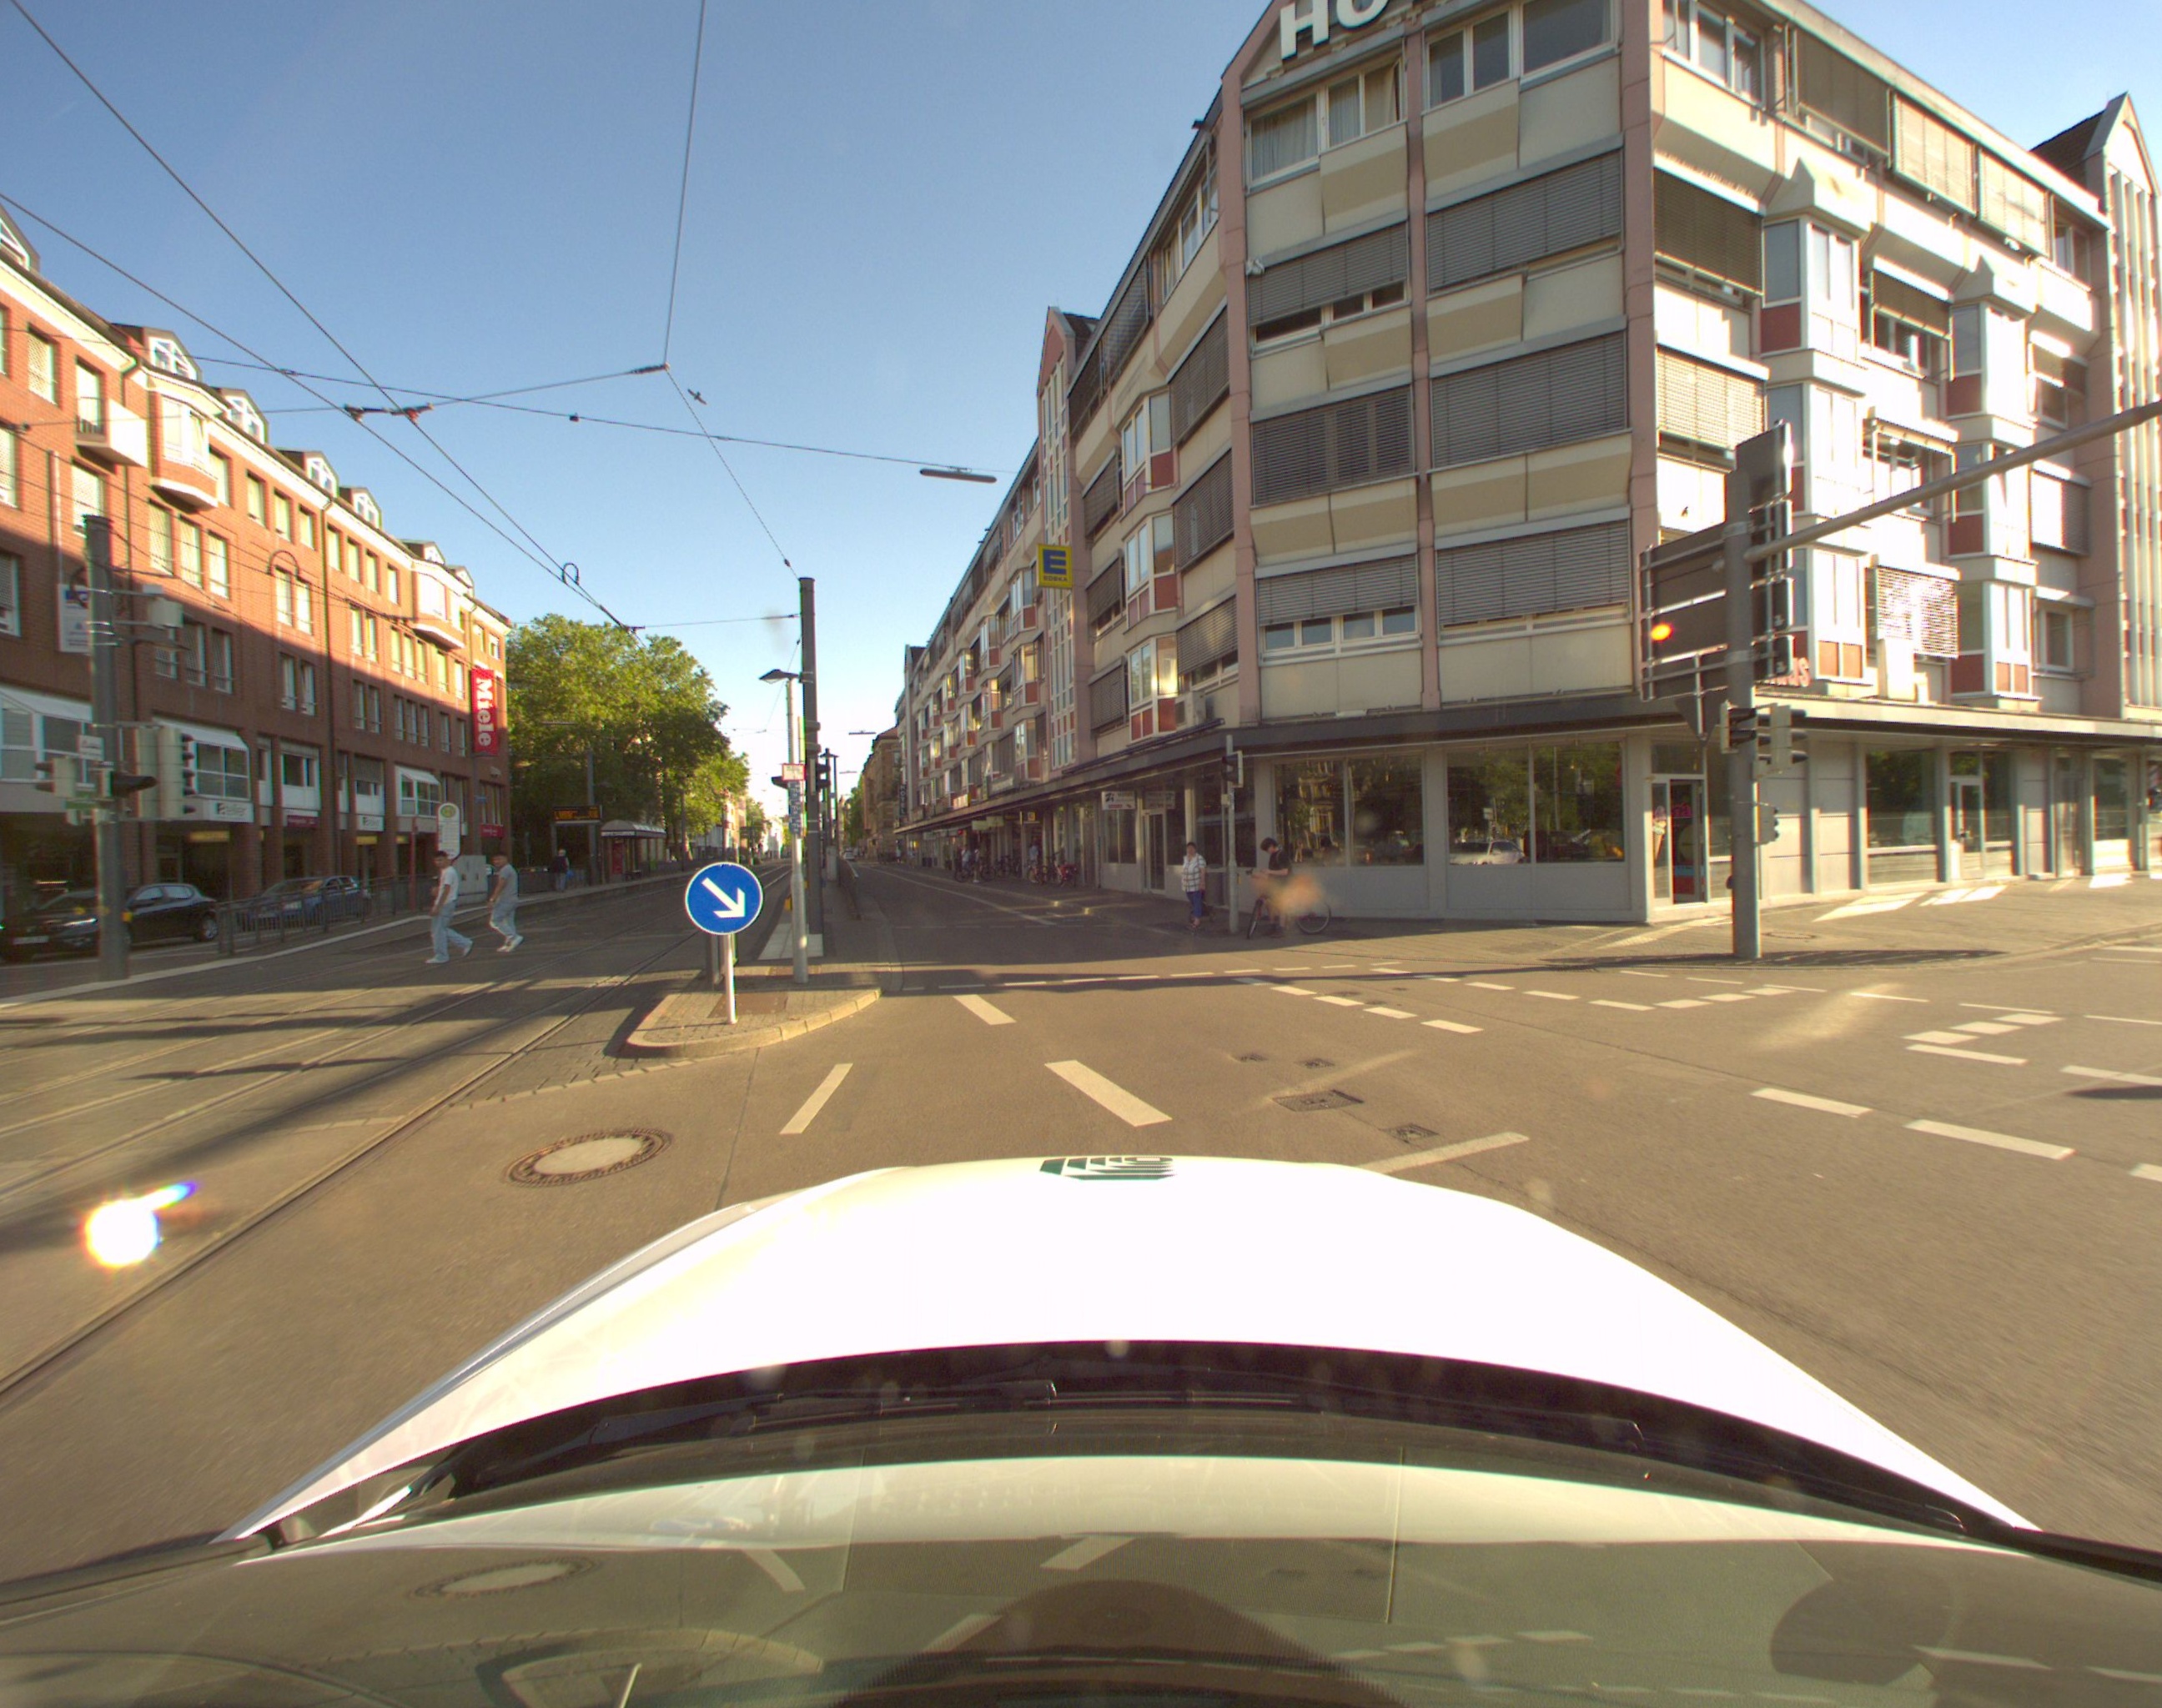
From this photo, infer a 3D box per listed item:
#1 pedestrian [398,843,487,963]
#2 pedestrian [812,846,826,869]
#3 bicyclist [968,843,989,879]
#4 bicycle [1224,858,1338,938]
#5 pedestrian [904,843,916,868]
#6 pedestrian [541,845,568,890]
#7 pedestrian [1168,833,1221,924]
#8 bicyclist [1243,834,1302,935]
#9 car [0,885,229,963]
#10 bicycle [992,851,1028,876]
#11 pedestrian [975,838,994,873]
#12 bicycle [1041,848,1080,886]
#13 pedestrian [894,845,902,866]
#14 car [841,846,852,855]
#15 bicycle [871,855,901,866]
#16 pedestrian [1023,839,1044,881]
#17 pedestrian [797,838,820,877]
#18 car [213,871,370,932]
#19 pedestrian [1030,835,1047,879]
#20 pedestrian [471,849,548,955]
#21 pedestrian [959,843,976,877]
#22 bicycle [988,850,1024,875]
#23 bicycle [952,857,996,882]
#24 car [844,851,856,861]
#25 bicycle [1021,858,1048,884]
[{"bbox_3d":[-9.966,0.728,12.726,1.011,1.764,0.504,-3,3,-43],"label":"pedestrian"},{"bbox_3d":[-18.838,0.250,58.580,0.783,1.659,0.677,-2,2,-29],"label":"pedestrian"},{"bbox_3d":[-4.578,0.294,36.318,0.799,1.532,0.627,-4,2,-7],"label":"bicyclist"},{"bbox_3d":[3.375,0.709,13.719,1.770,1.145,0.637,-4,3,-20],"label":"bicycle"},{"bbox_3d":[-13.771,0.121,65.566,0.840,2.013,0.774,-1,2,-14],"label":"pedestrian"},{"bbox_3d":[-19.140,0.482,29.619,0.695,1.577,0.614,-3,3,-44],"label":"pedestrian"},{"bbox_3d":[2.146,0.450,15.399,0.707,1.662,0.637,-2,0,43],"label":"pedestrian"},{"bbox_3d":[3.204,0.493,13.651,0.658,1.596,0.637,-4,3,-20],"label":"bicyclist"},{"bbox_3d":[-21.526,1.471,18.124,1.748,1.244,3.917,-1,2,-16],"label":"car"},{"bbox_3d":[-3.373,0.460,38.648,1.651,1.119,0.480,-2,2,-24],"label":"bicycle"},{"bbox_3d":[-5.077,0.074,42.987,0.813,1.778,0.682,-1,2,7],"label":"pedestrian"},{"bbox_3d":[-0.730,0.429,28.023,0.729,1.226,2.319,-1,1,-17],"label":"bicycle"},{"bbox_3d":[-17.975,0.105,79.987,0.774,2.013,0.502,-1,2,-15],"label":"pedestrian"},{"bbox_3d":[-45.124,-0.622,156.881,1.998,1.551,3.978,-1,2,-16],"label":"car"},{"bbox_3d":[-21.126,0.709,88.304,0.890,0.992,3.192,1,3,44],"label":"bicycle"},{"bbox_3d":[-1.890,0.228,32.691,0.603,1.635,0.607,0,2,22],"label":"pedestrian"},{"bbox_3d":[-11.837,0.132,35.376,0.783,1.659,0.677,-2,2,-29],"label":"pedestrian"},{"bbox_3d":[-23.638,1.347,24.601,1.749,1.424,3.915,-1,2,-17],"label":"car"},{"bbox_3d":[-1.849,0.105,35.015,0.609,1.852,0.601,-1,2,-13],"label":"pedestrian"},{"bbox_3d":[-9.716,0.784,13.863,0.616,1.694,0.873,0,2,35],"label":"pedestrian"},{"bbox_3d":[-5.662,0.295,40.536,0.751,1.644,0.548,-1,2,-14],"label":"pedestrian"},{"bbox_3d":[-3.666,0.413,40.042,1.651,1.119,0.562,-2,2,-24],"label":"bicycle"},{"bbox_3d":[-4.799,0.682,36.598,1.903,0.930,0.627,-5,2,-8],"label":"bicycle"},{"bbox_3d":[-38.232,0.336,134.747,1.998,1.551,3.978,-1,2,-16],"label":"car"},{"bbox_3d":[-1.782,0.628,30.849,0.501,0.917,2.066,-1,1,-17],"label":"bicycle"}]
